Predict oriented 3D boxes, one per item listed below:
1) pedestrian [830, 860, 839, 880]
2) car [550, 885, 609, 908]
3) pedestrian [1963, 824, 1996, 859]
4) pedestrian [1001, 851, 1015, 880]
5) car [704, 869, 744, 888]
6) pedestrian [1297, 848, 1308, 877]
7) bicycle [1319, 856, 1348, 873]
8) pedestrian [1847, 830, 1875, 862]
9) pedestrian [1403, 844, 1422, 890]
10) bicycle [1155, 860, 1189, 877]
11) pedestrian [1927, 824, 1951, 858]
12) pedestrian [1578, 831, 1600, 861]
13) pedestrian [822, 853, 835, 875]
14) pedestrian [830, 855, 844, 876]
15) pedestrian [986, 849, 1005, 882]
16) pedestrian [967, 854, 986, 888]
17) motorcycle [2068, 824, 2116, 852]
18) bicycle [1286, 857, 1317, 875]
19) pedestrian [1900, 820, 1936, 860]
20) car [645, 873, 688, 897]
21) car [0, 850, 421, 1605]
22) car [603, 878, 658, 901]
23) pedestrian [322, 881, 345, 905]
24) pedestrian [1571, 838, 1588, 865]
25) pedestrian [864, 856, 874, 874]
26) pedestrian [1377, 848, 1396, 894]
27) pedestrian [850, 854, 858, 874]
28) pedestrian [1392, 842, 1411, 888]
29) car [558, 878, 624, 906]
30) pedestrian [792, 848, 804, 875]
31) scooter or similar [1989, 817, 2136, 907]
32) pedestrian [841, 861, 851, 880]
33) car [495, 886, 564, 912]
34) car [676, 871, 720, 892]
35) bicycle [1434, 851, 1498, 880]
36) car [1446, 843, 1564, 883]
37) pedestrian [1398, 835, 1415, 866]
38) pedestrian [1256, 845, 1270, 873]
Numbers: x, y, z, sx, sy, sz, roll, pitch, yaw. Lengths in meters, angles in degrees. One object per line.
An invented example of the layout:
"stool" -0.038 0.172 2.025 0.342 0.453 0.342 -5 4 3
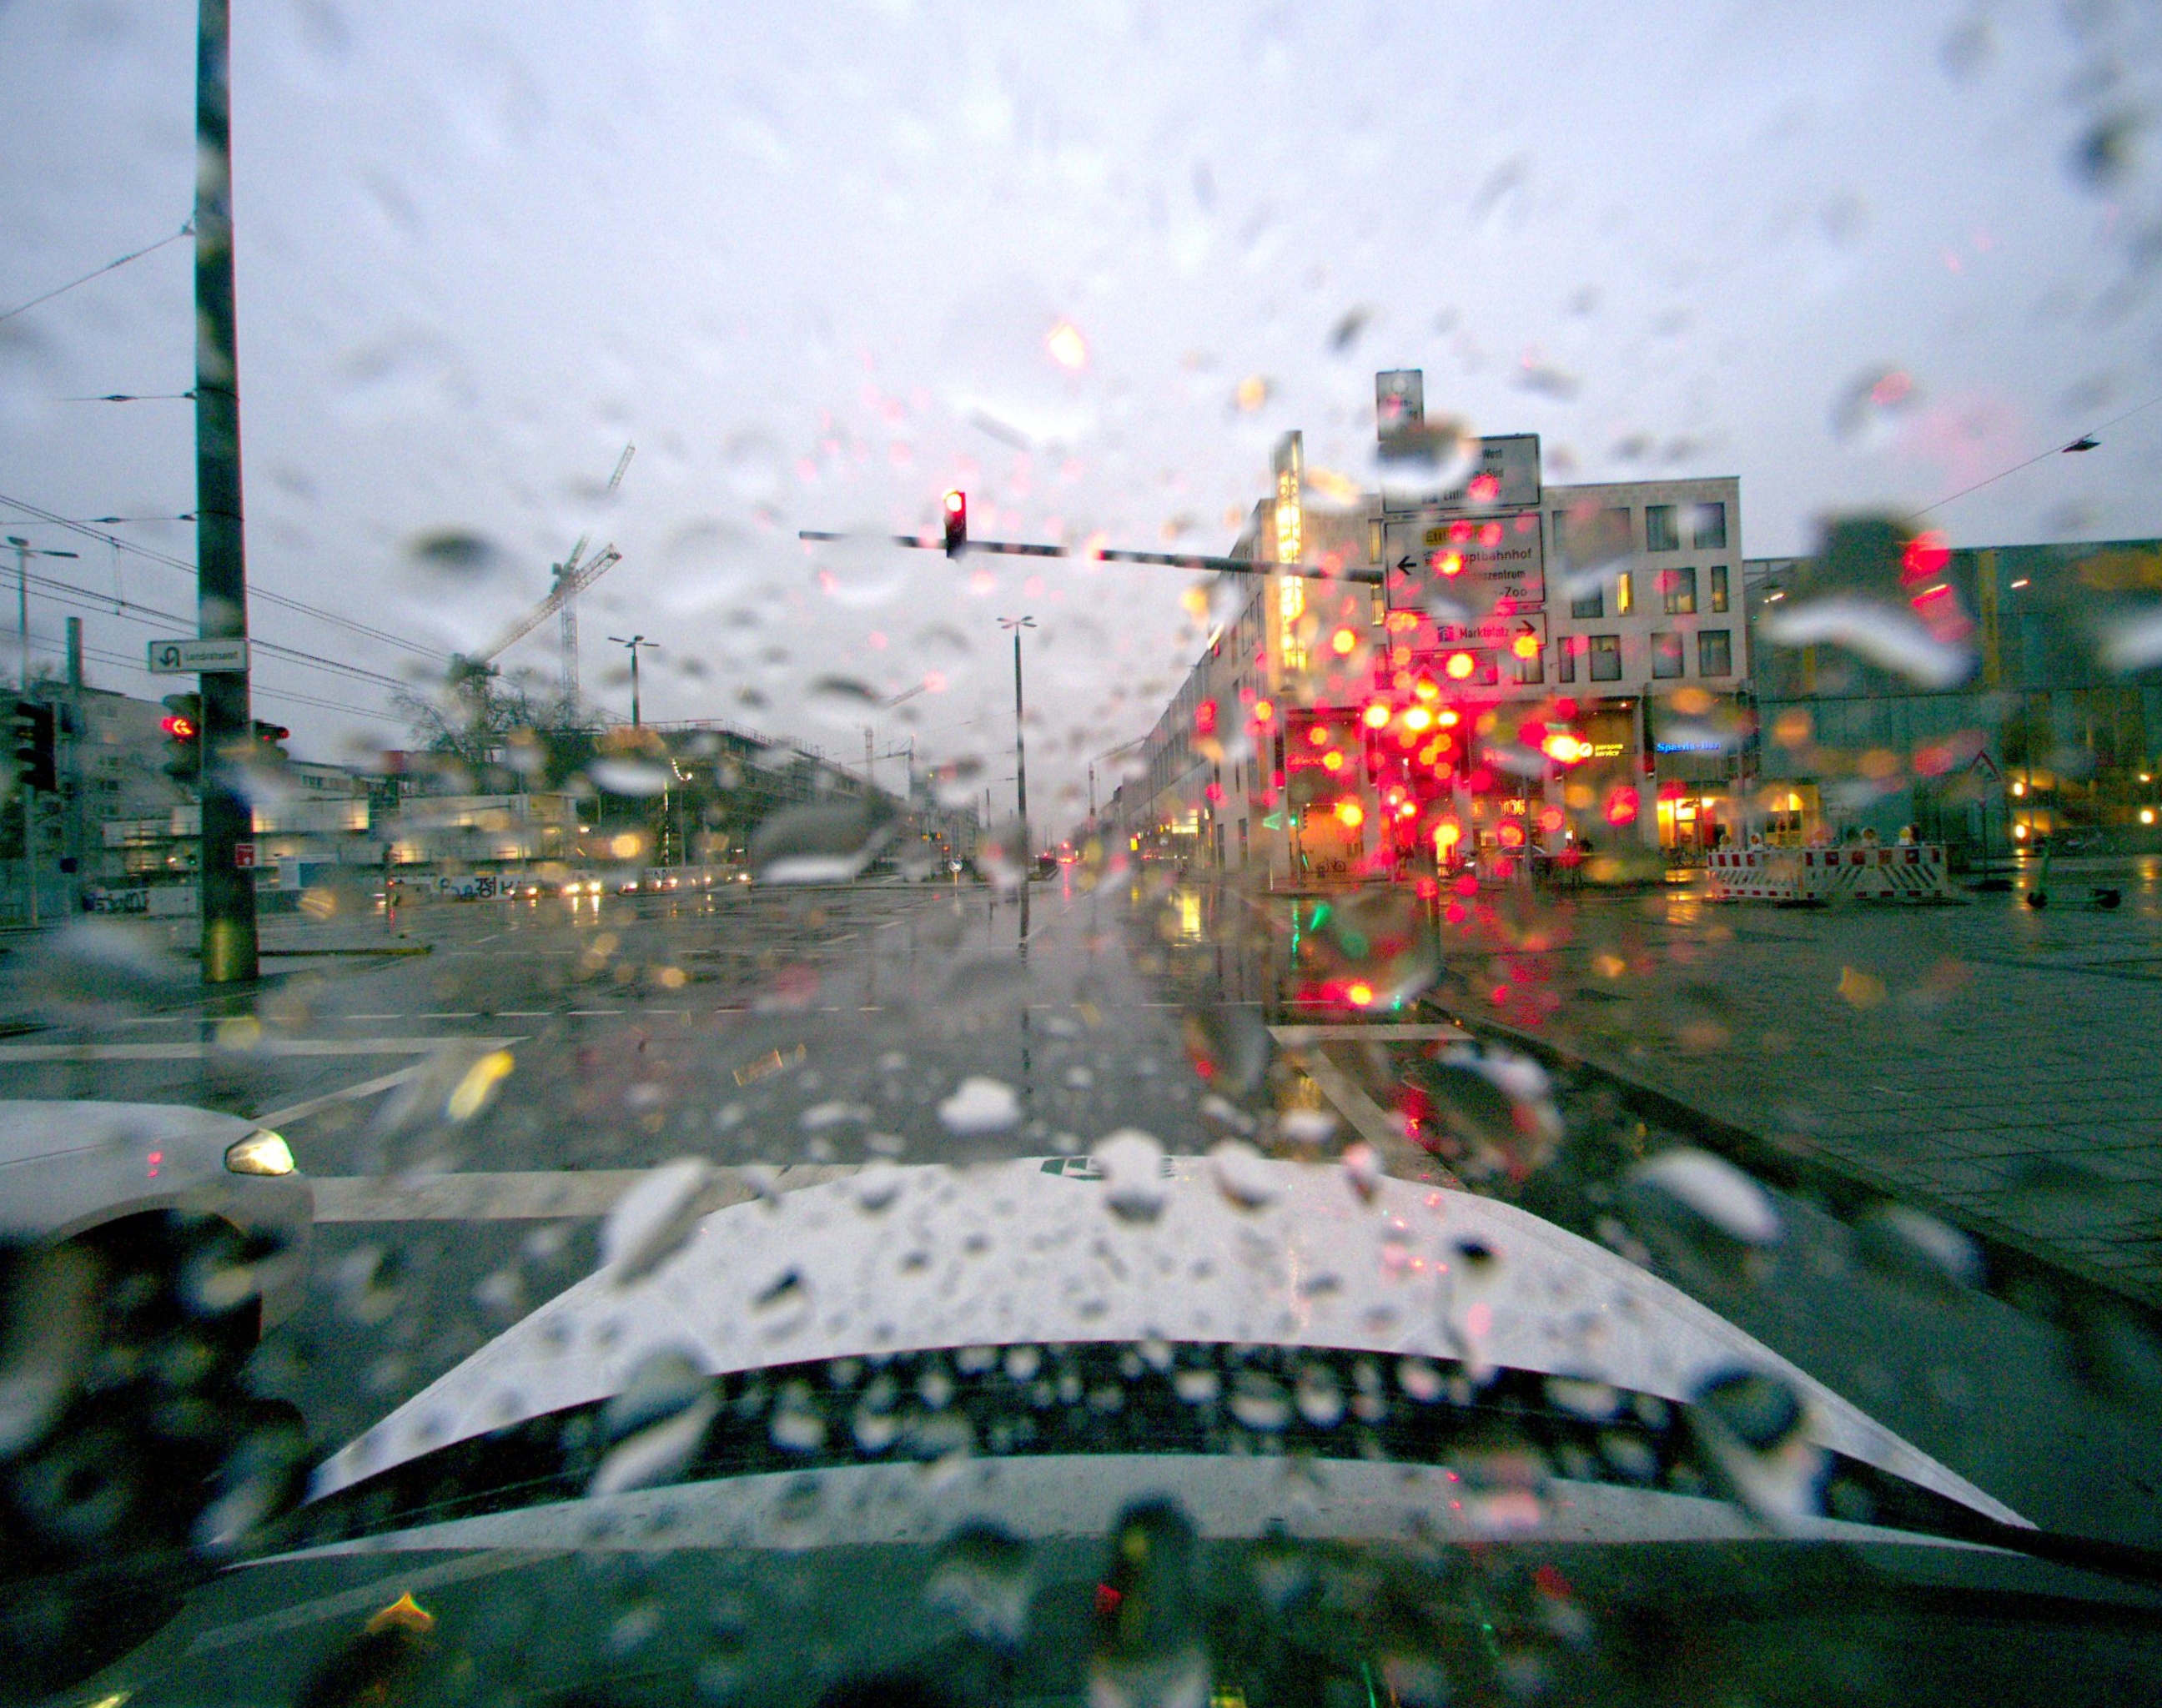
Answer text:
"pedestrian" -23.537 1.563 77.856 0.696 1.881 0.553 0 -1 1
"car" -38.957 3.299 63.406 1.986 1.530 4.001 -2 0 2
"pedestrian" 43.938 -0.622 39.853 0.737 1.684 0.783 -1 -1 8
"pedestrian" -4.327 0.687 48.290 0.605 1.686 0.581 -1 -1 44
"car" -34.929 2.382 79.767 1.986 1.790 4.001 0 -1 2
"pedestrian" 13.574 0.508 49.951 0.596 1.745 0.526 -1 -1 10
"bicycle" 15.679 0.655 50.587 1.642 1.070 0.524 0 -1 -2
"pedestrian" 41.184 -0.419 43.027 0.737 1.684 0.783 -1 -1 8
"pedestrian" 18.103 0.707 44.435 0.691 2.448 0.792 0 -1 1
"bicycle" 6.876 1.094 61.593 2.434 1.154 0.674 -2 -1 0
"pedestrian" 42.138 -0.630 39.987 0.539 1.684 0.583 -1 -1 8
"pedestrian" 29.370 -0.434 47.089 0.890 1.684 0.528 -2 -1 1
"pedestrian" -23.783 0.931 76.742 0.939 2.014 1.094 0 -1 -1
"pedestrian" -23.720 1.143 79.158 0.938 2.014 1.094 0 -1 2
"pedestrian" -4.924 0.661 46.772 0.826 1.831 0.778 0 -1 -29
"pedestrian" -6.113 0.992 47.676 0.776 2.014 0.732 -1 -1 44
"motorcycle" 48.285 -0.758 38.900 1.482 1.352 0.595 0 0 5
"bicycle" 13.654 0.738 50.502 1.765 1.070 0.523 0 -1 -7
"pedestrian" 35.325 -0.584 34.380 0.737 1.684 0.783 -1 -1 8
"car" -34.821 2.584 68.573 1.862 1.828 3.993 0 -1 -5
"car" -3.182 0.766 0.324 2.010 1.487 4.561 -2 0 1
"car" -34.232 2.643 62.074 2.074 1.530 4.603 -2 0 -8
"pedestrian" -45.114 2.331 49.141 0.725 1.388 0.725 0 -1 2
"pedestrian" 27.955 -0.155 45.682 0.583 1.494 0.520 -1 -1 4
"pedestrian" -23.995 1.250 92.132 0.941 2.014 1.091 0 -1 -7
"pedestrian" 16.497 0.926 43.997 0.712 2.441 0.758 0 -1 1
"pedestrian" -22.733 1.018 81.551 0.569 1.968 0.664 1 -1 -4
"pedestrian" 17.304 0.587 43.970 0.687 2.441 0.758 0 -1 1
"car" -33.742 2.601 56.227 1.986 1.657 4.001 -2 0 2
"pedestrian" -24.172 0.656 69.559 0.762 2.323 0.763 0 -2 1
"scooter or similar" 15.687 0.121 13.068 0.590 1.352 1.495 0 0 2
"pedestrian" -23.146 1.607 80.229 0.762 1.898 0.763 0 -2 1
"car" -38.487 3.141 56.944 1.986 1.530 4.001 -2 0 2
"car" -34.861 2.507 74.211 1.986 1.790 4.001 0 -1 2
"bicycle" 19.251 0.579 40.779 2.705 1.359 0.957 -2 -1 -2
"car" 17.930 0.368 34.563 3.970 1.618 2.001 0 -1 3
"pedestrian" 21.551 -0.235 53.958 0.841 2.013 0.700 -2 0 10
"pedestrian" 11.018 0.303 49.247 0.634 1.709 0.574 -2 -1 1
